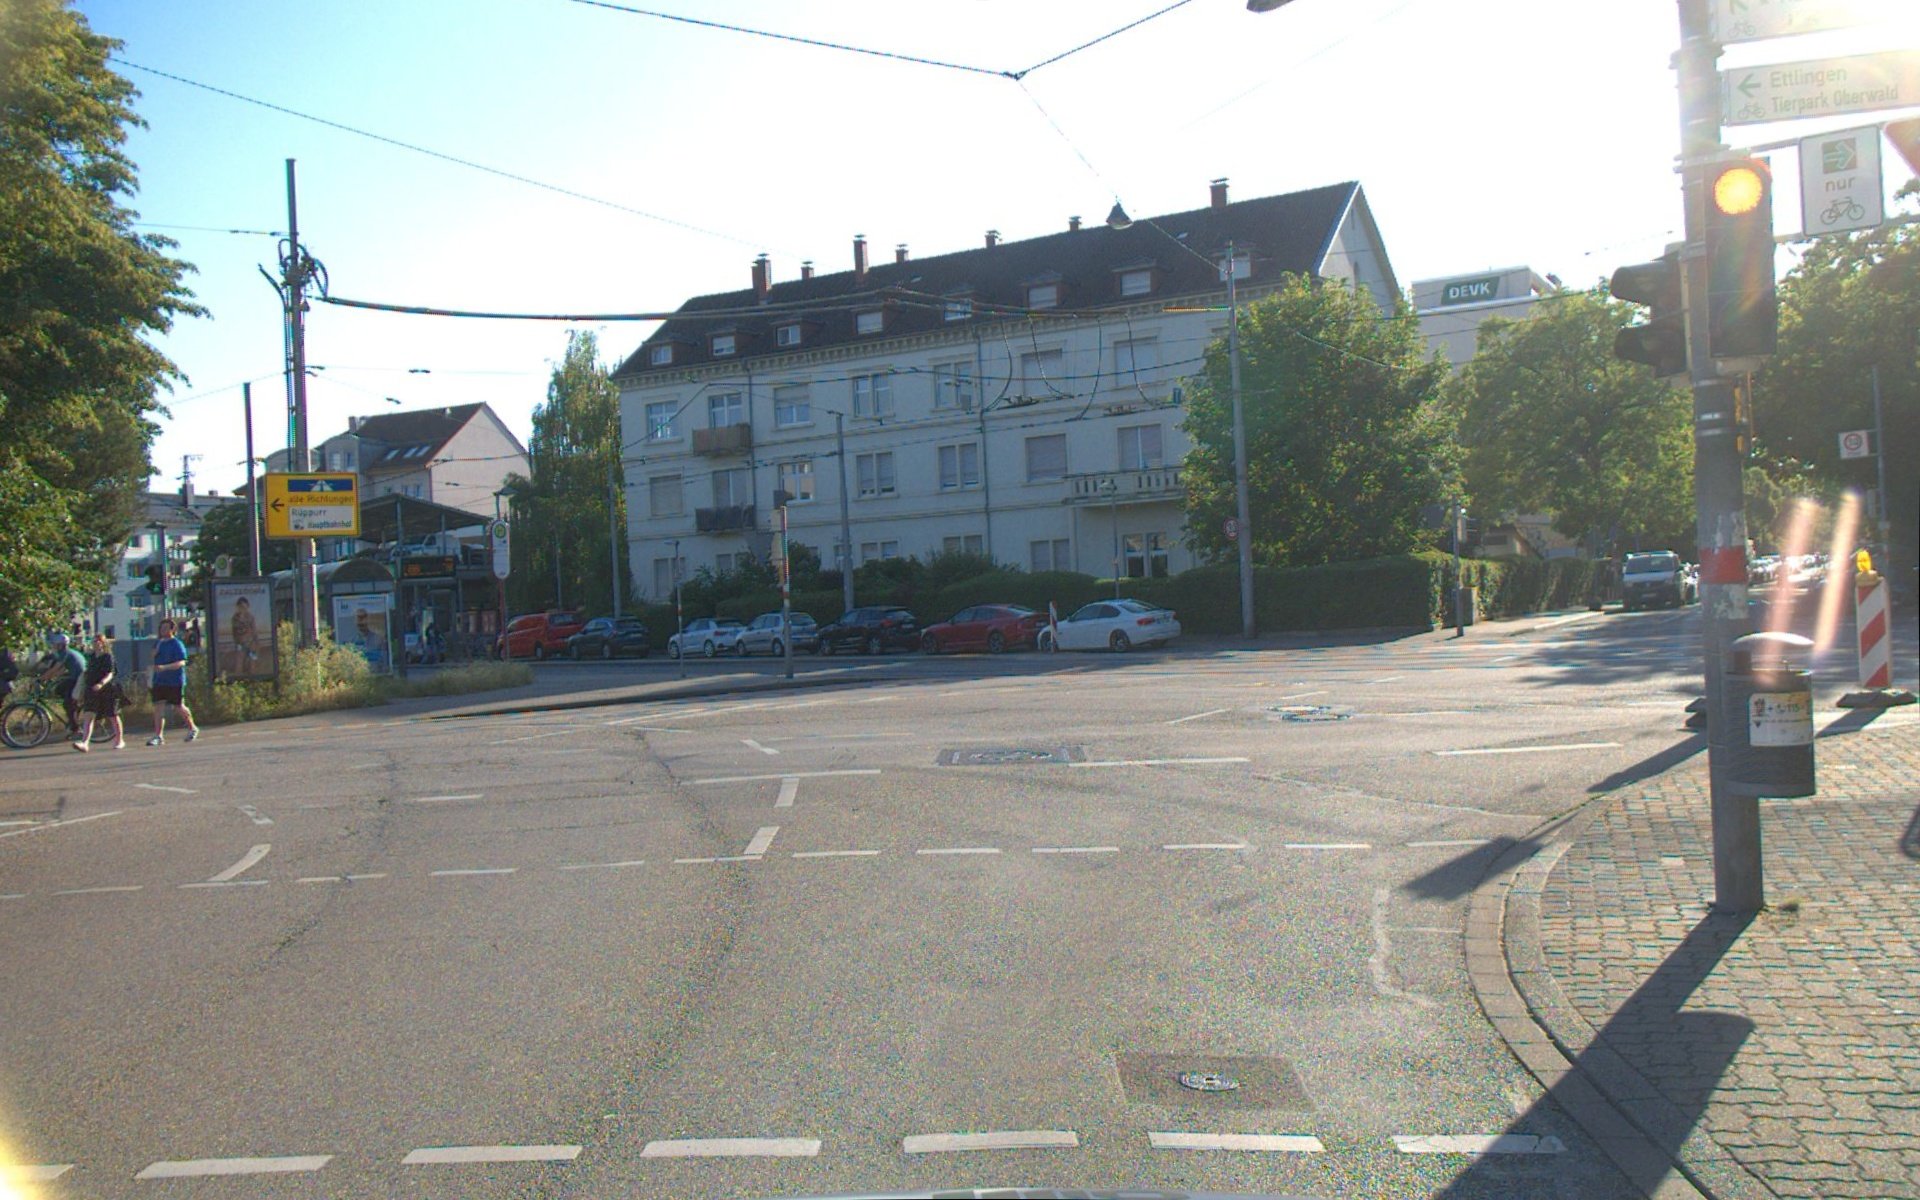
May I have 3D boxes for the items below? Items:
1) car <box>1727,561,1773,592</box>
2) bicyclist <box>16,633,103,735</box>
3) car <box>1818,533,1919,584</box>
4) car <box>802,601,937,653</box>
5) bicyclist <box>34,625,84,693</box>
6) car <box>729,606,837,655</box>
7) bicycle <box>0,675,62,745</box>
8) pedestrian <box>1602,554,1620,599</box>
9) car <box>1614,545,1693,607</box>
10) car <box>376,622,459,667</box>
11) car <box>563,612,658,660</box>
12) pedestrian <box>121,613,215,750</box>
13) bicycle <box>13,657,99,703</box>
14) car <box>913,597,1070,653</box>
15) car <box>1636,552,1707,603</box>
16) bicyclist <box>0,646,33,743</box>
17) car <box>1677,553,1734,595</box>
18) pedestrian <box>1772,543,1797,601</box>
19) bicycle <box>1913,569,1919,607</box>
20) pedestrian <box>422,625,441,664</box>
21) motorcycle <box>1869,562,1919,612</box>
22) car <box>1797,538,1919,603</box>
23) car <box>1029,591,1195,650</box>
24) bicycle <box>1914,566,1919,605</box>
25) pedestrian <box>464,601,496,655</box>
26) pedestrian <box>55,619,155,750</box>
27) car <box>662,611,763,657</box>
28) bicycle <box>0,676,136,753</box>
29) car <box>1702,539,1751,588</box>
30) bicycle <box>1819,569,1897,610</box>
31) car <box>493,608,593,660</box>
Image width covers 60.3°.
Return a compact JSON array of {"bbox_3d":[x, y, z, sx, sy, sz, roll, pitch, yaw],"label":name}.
[{"bbox_3d":[51.020,-1.539,106.770,2.310,1.826,5.301,-3,0,29],"label":"car"},{"bbox_3d":[-14.560,1.345,26.775,1.016,1.558,0.696,-3,0,-13],"label":"bicyclist"},{"bbox_3d":[40.816,-1.829,73.125,4.990,1.958,2.360,-3,-2,26],"label":"car"},{"bbox_3d":[-3.029,0.911,54.574,1.970,1.472,4.634,-6,2,-41],"label":"car"},{"bbox_3d":[-23.436,1.529,43.026,0.655,1.681,0.886,-3,0,25],"label":"bicyclist"},{"bbox_3d":[-6.209,1.084,57.769,1.971,1.472,3.663,-6,2,-41],"label":"car"},{"bbox_3d":[-16.085,1.850,27.394,1.979,1.087,0.661,-3,0,-15],"label":"bicycle"},{"bbox_3d":[26.220,-0.948,66.605,0.567,1.761,0.608,-3,0,23],"label":"pedestrian"},{"bbox_3d":[25.349,-0.870,60.339,2.308,2.049,5.306,-3,0,26],"label":"car"},{"bbox_3d":[-27.191,2.230,82.786,2.039,1.995,5.073,-6,2,-41],"label":"car"},{"bbox_3d":[-14.192,1.477,66.972,1.830,1.696,4.304,-6,2,-41],"label":"car"},{"bbox_3d":[-11.844,1.196,24.766,0.895,1.958,1.065,-3,0,-9],"label":"pedestrian"},{"bbox_3d":[-23.451,2.066,42.945,0.647,1.088,2.020,1,0,19],"label":"bicycle"},{"bbox_3d":[0.915,0.768,50.126,4.625,1.400,1.974,-3,2,44],"label":"car"},{"bbox_3d":[28.350,-0.919,65.765,2.308,1.826,5.306,-3,0,26],"label":"car"},{"bbox_3d":[-16.041,1.574,27.392,1.017,1.558,0.658,-3,0,-16],"label":"bicyclist"},{"bbox_3d":[35.642,-1.251,78.977,2.308,1.826,5.306,-3,0,26],"label":"car"},{"bbox_3d":[27.355,-0.929,54.885,0.648,1.871,0.682,-3,0,28],"label":"pedestrian"},{"bbox_3d":[24.734,-0.344,41.186,1.691,0.949,0.561,-3,0,29],"label":"bicycle"},{"bbox_3d":[-21.141,1.789,66.126,0.560,1.527,0.672,-3,0,-29],"label":"pedestrian"},{"bbox_3d":[22.937,-0.328,39.597,1.912,1.128,0.837,-3,0,24],"label":"motorcycle"},{"bbox_3d":[31.344,-1.019,55.675,5.510,1.958,2.360,-3,-2,26],"label":"car"},{"bbox_3d":[4.201,0.591,46.183,1.916,1.400,4.426,-6,2,-43],"label":"car"},{"bbox_3d":[24.375,-0.398,40.507,1.691,0.949,0.561,-3,0,29],"label":"bicycle"},{"bbox_3d":[-18.880,1.091,65.097,0.914,2.049,0.759,-3,-1,-37],"label":"pedestrian"},{"bbox_3d":[-12.196,1.185,23.620,0.895,1.777,1.065,-3,0,-9],"label":"pedestrian"},{"bbox_3d":[-9.174,1.272,61.215,1.830,1.472,3.899,-6,2,-41],"label":"car"},{"bbox_3d":[-14.508,1.844,26.730,1.978,1.087,0.661,-3,0,-14],"label":"bicycle"},{"bbox_3d":[43.111,-2.036,92.950,2.308,2.558,5.306,-3,0,26],"label":"car"},{"bbox_3d":[22.776,-0.262,41.986,1.690,0.949,0.671,-3,0,29],"label":"bicycle"},{"bbox_3d":[-18.162,1.519,71.951,2.039,1.995,5.073,-6,2,-41],"label":"car"}]
